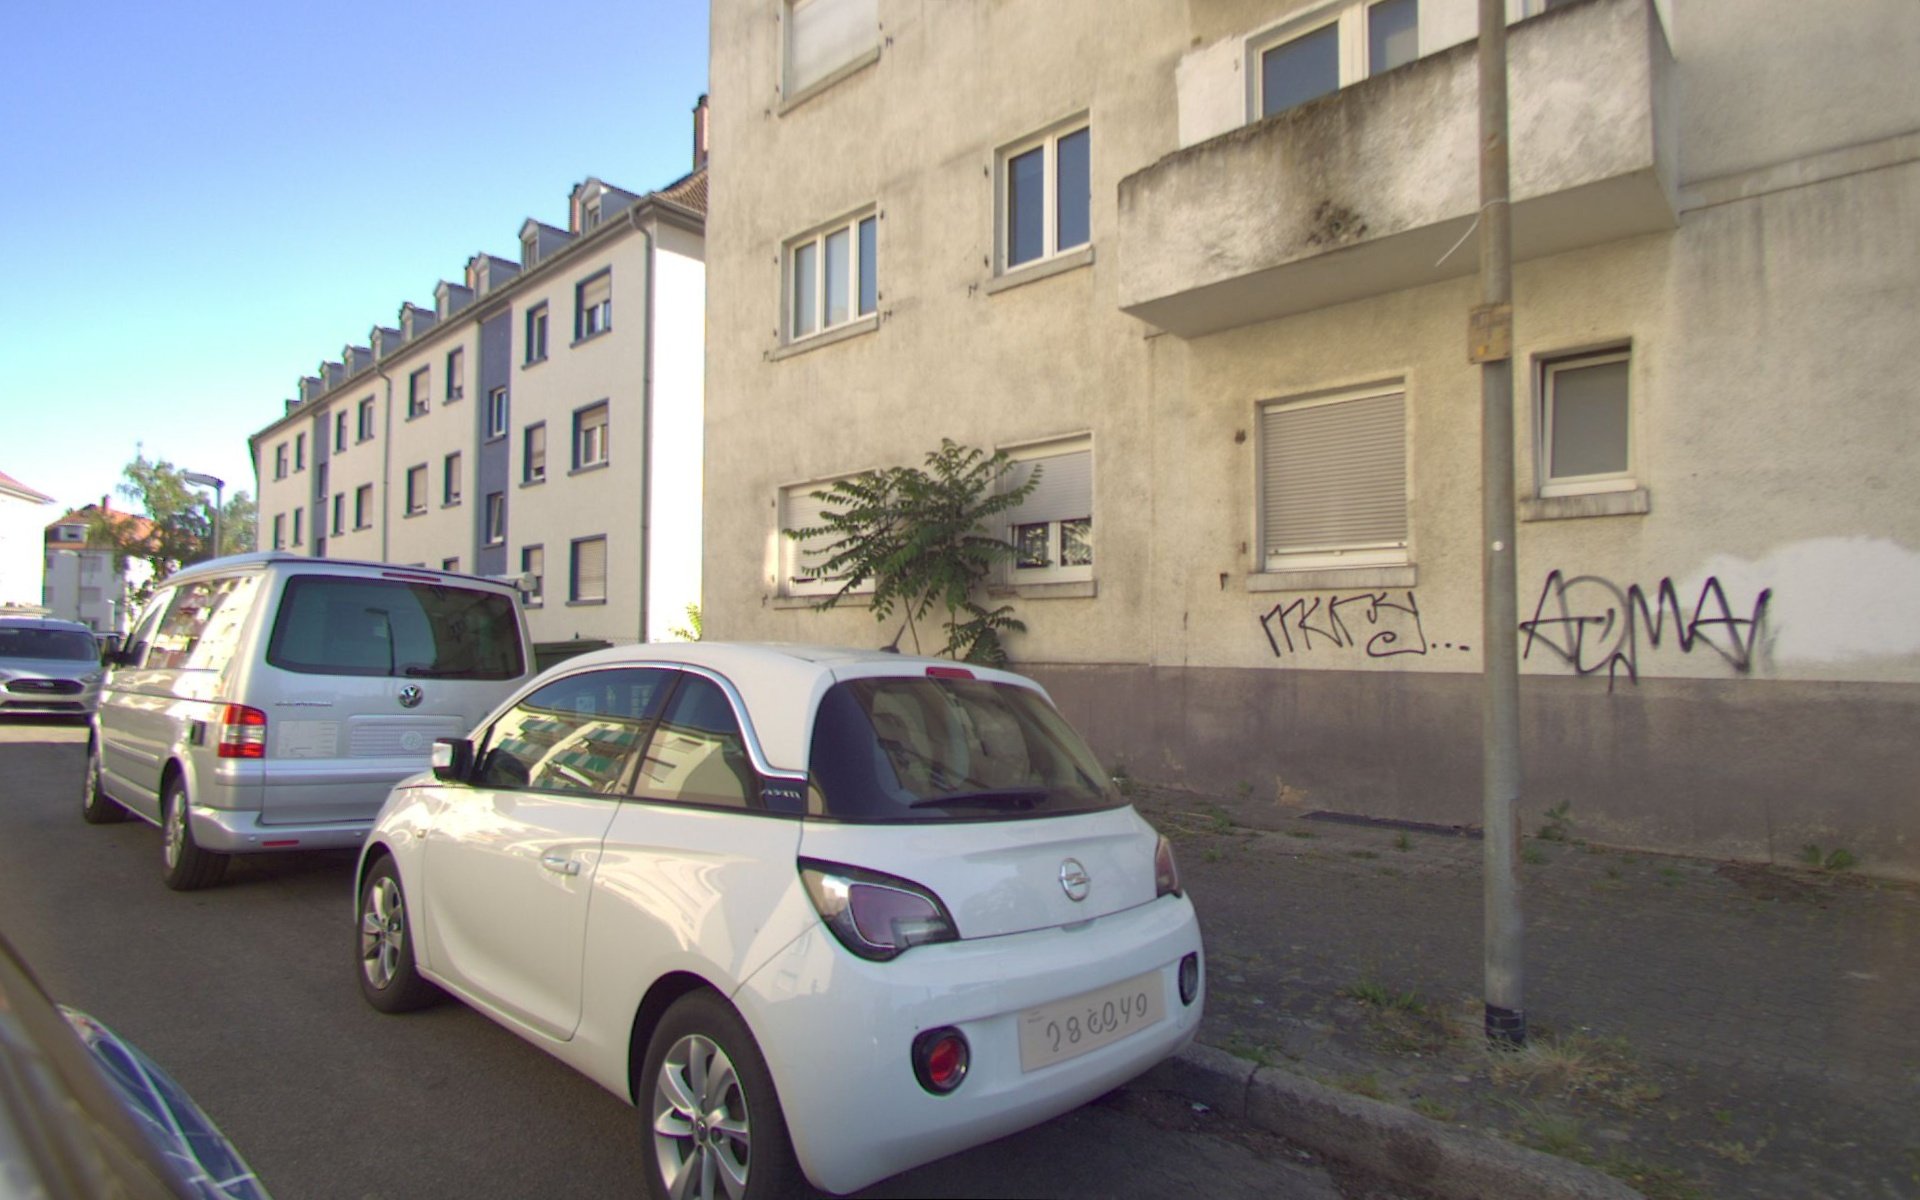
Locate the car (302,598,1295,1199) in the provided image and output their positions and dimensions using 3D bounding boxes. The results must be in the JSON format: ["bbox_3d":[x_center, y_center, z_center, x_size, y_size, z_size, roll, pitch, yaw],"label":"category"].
[{"bbox_3d":[-0.905,0.836,3.726,3.722,1.470,1.668,-2,-5,44],"label":"car"}]

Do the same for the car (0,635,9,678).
[{"bbox_3d":[-36.261,2.030,37.187,1.720,1.528,3.987,6,-6,-42],"label":"car"}]

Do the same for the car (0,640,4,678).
[{"bbox_3d":[-31.767,1.969,32.065,4.397,1.470,1.878,-2,-6,44],"label":"car"}]

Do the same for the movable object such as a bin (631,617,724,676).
[{"bbox_3d":[-5.037,0.824,18.033,1.204,1.007,1.117,-1,-4,43],"label":"movable object such as a bin"}]

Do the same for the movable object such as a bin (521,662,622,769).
[{"bbox_3d":[-4.302,1.247,11.217,0.816,1.087,0.764,-2,-3,42],"label":"movable object such as a bin"}]

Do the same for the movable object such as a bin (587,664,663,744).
[{"bbox_3d":[-4.407,1.349,13.314,0.591,0.982,0.764,-2,-3,42],"label":"movable object such as a bin"}]

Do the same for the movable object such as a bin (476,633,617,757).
[{"bbox_3d":[-4.961,1.092,12.163,1.044,1.387,1.242,-2,-3,42],"label":"movable object such as a bin"}]

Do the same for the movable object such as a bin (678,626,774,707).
[{"bbox_3d":[-4.407,1.233,19.046,1.437,1.444,1.117,-1,-4,43],"label":"movable object such as a bin"}]

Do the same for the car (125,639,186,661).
[{"bbox_3d":[-58.539,3.637,73.710,1.551,1.436,3.984,3,-5,-7],"label":"car"}]

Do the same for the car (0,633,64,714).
[{"bbox_3d":[-20.768,1.522,21.757,4.163,1.603,1.655,-2,-7,42],"label":"car"}]

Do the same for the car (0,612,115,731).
[{"bbox_3d":[-16.452,1.226,17.764,4.949,1.844,1.780,-2,-6,43],"label":"car"}]

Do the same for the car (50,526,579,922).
[{"bbox_3d":[-4.906,0.732,7.351,4.855,1.948,1.930,-2,-5,42],"label":"car"}]

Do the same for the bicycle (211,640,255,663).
[{"bbox_3d":[-35.612,2.525,49.569,1.707,0.997,0.463,-2,0,-33],"label":"bicycle"}]

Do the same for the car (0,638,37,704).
[{"bbox_3d":[-24.060,1.690,24.866,3.702,1.530,1.626,-2,-7,43],"label":"car"}]
